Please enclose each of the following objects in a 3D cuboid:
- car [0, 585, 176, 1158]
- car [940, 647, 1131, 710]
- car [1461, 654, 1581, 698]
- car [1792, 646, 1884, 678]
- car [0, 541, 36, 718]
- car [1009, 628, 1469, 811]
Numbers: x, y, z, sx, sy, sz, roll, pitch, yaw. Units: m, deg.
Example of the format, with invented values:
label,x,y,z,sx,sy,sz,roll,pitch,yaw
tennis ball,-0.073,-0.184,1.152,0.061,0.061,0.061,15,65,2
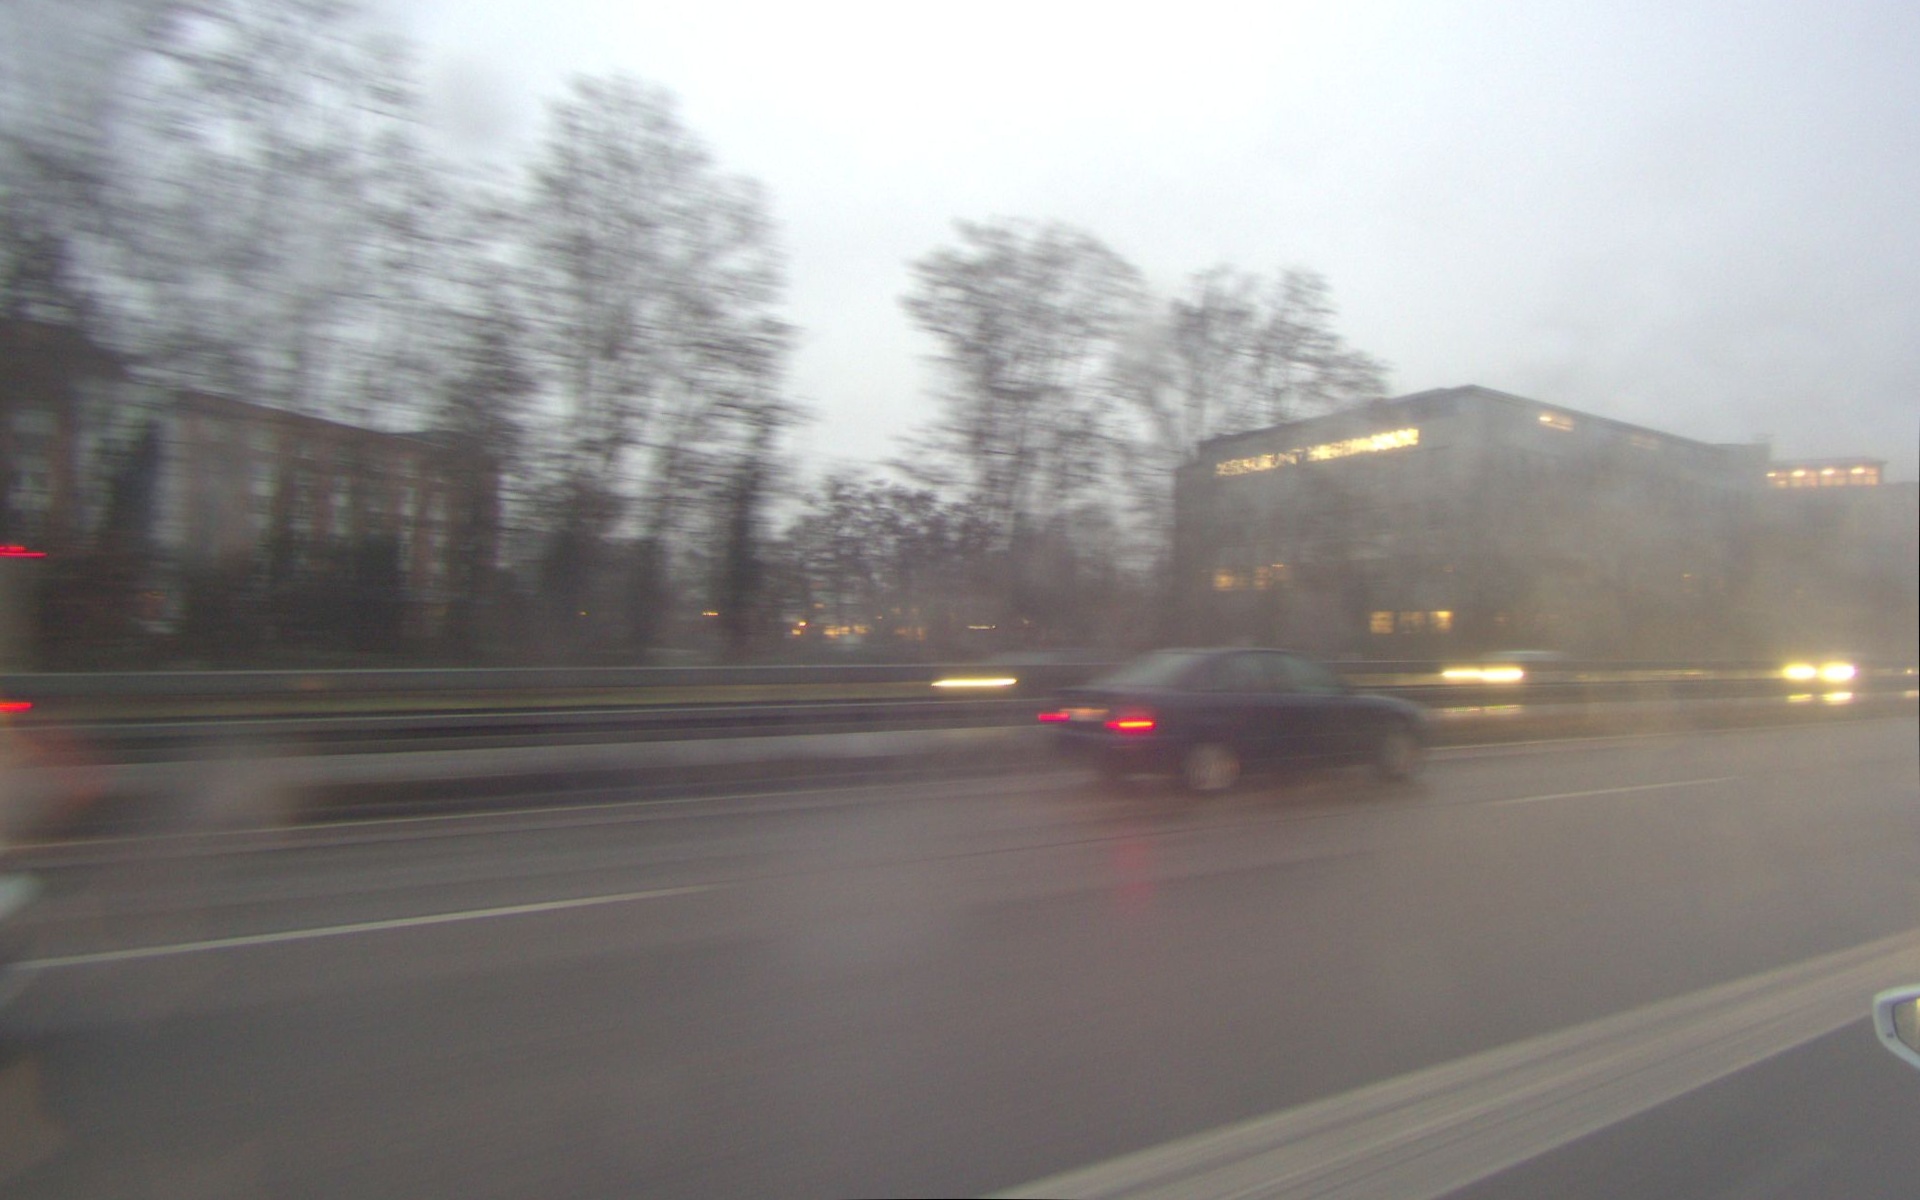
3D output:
label,x,y,z,sx,sy,sz,roll,pitch,yaw
car,-5.022,0.709,2.319,4.727,1.540,1.940,1,-3,-28
car,1.878,1.862,24.484,4.417,1.339,1.703,2,0,-28
car,19.041,2.536,34.076,4.205,1.339,1.539,2,0,-28
car,38.949,2.729,44.543,4.628,1.288,1.539,2,0,-28
car,-17.806,0.382,14.351,6.261,2.767,2.517,2,0,-28
car,2.946,1.147,10.426,4.642,1.554,1.770,2,-4,-27
